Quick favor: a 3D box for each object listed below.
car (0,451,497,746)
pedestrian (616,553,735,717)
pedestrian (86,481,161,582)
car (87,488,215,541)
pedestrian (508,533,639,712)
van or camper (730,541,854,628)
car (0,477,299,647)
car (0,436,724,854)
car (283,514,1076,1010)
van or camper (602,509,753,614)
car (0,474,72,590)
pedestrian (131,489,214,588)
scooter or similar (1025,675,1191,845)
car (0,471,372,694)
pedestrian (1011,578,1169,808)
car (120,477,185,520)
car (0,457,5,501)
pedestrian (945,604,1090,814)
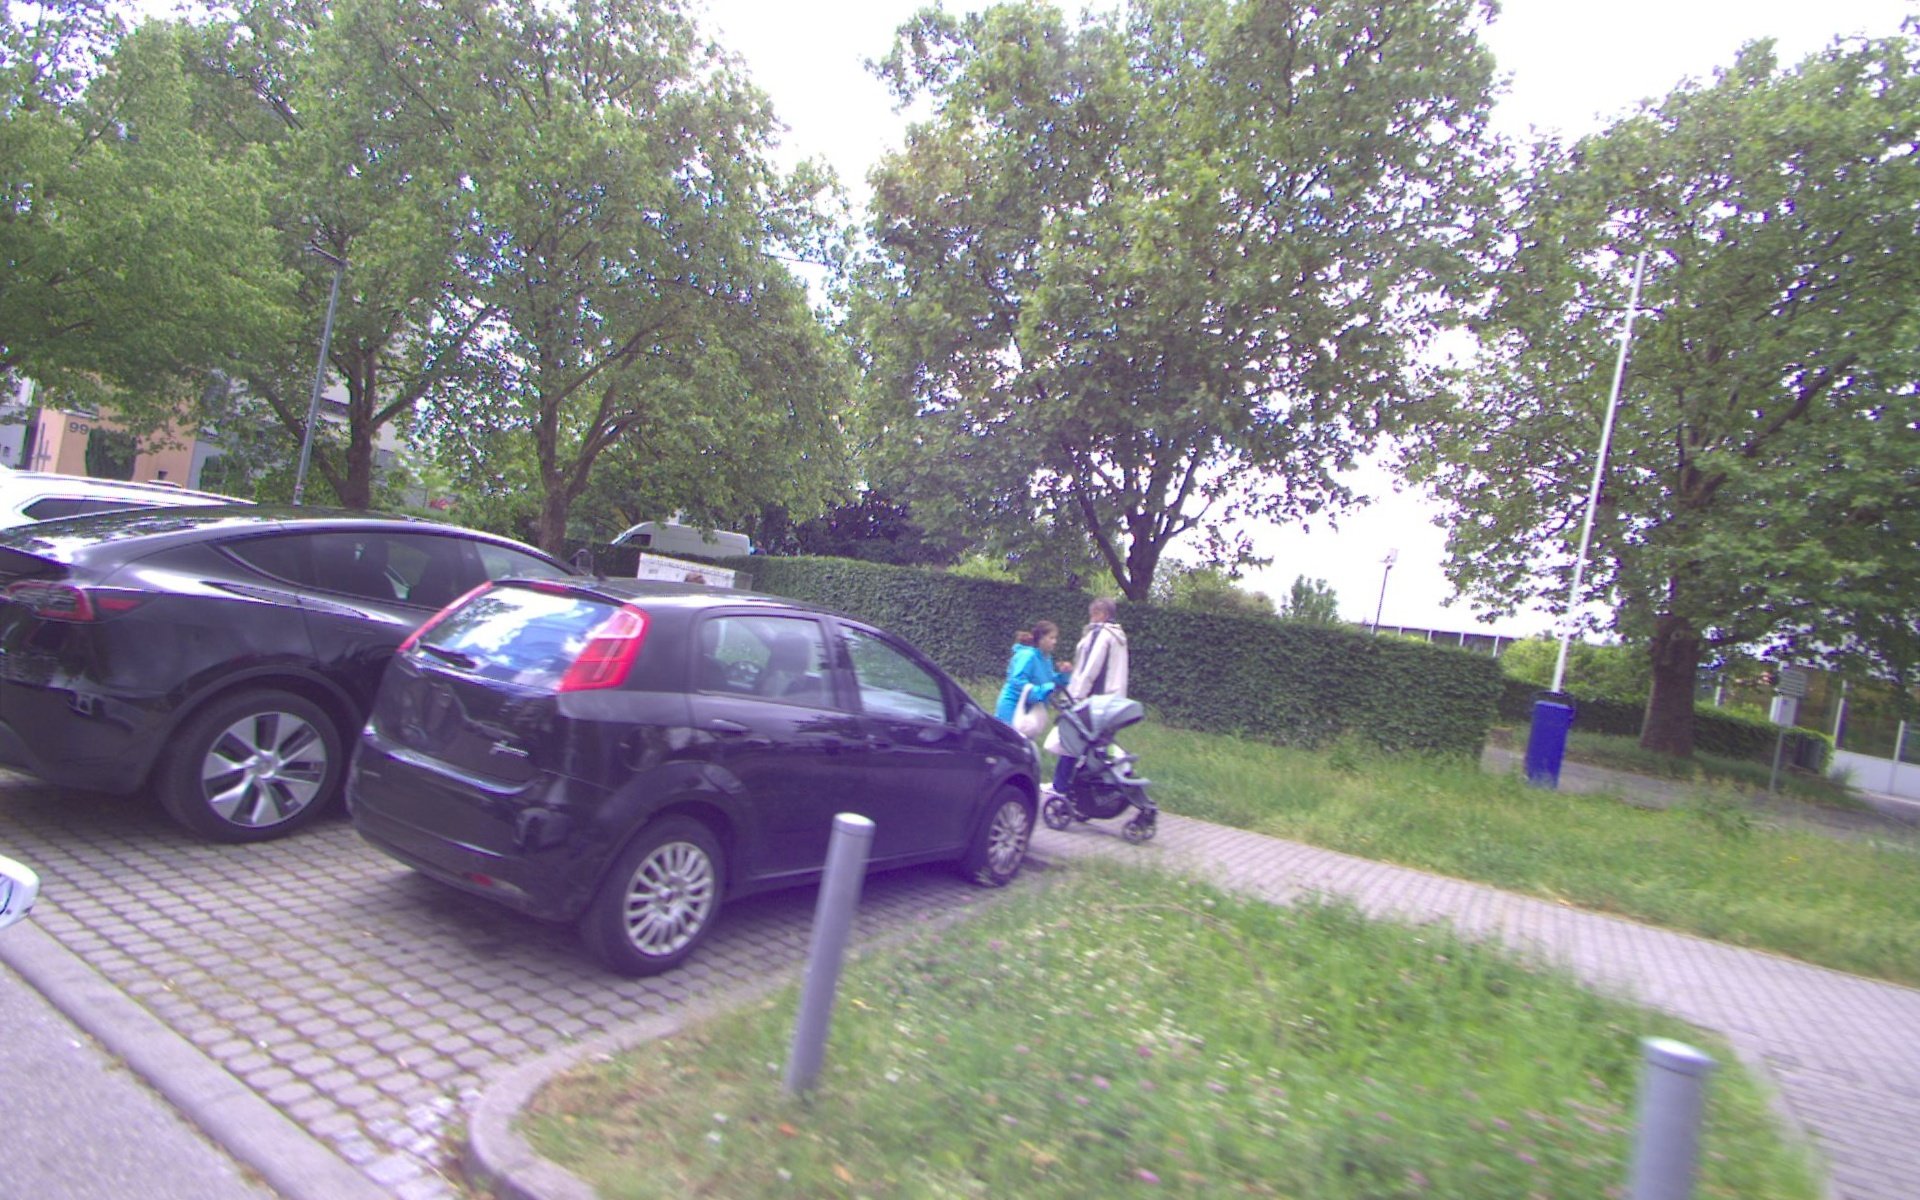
[{"bbox_3d":[-5.588,0.017,7.089,1.822,1.666,3.676,8,-1,34],"label":"car"},{"bbox_3d":[-3.407,0.428,12.069,0.864,1.813,0.741,8,-1,32],"label":"pedestrian"},{"bbox_3d":[-15.041,-1.226,18.096,0.590,1.676,0.690,8,-1,31],"label":"pedestrian"},{"bbox_3d":[-35.351,-3.723,44.055,1.696,1.637,3.996,7,-1,37],"label":"car"},{"bbox_3d":[-4.252,0.253,11.076,0.864,1.813,0.741,8,-1,32],"label":"pedestrian"},{"bbox_3d":[-6.975,-0.625,41.766,4.422,2.830,2.105,10,-1,-22],"label":"van or camper"},{"bbox_3d":[-9.897,-0.486,10.483,1.917,1.509,4.587,7,-1,27],"label":"car"},{"bbox_3d":[-3.349,0.292,5.740,1.567,1.592,3.676,7,-2,34],"label":"car"},{"bbox_3d":[-1.037,0.679,5.242,1.619,1.515,3.676,8,-2,34],"label":"car"},{"bbox_3d":[-9.862,-1.309,35.187,4.432,2.830,2.100,10,-2,-28],"label":"van or camper"},{"bbox_3d":[-14.573,-1.146,13.251,1.879,1.538,3.831,7,0,30],"label":"car"},{"bbox_3d":[-14.657,-1.141,18.739,0.583,1.676,0.871,8,-1,31],"label":"pedestrian"},{"bbox_3d":[1.097,1.157,7.444,0.928,1.035,0.581,8,-1,33],"label":"scooter or similar"},{"bbox_3d":[-7.594,-0.203,8.517,1.856,1.536,3.989,7,-3,38],"label":"car"},{"bbox_3d":[1.152,0.804,8.825,0.864,1.813,0.832,8,-1,32],"label":"pedestrian"},{"bbox_3d":[-38.433,-4.826,47.851,3.721,1.679,1.567,8,1,39],"label":"car"},{"bbox_3d":[-18.875,-1.857,16.096,1.811,1.854,4.783,7,0,28],"label":"car"},{"bbox_3d":[0.456,0.842,7.895,0.724,1.485,0.620,8,-1,32],"label":"pedestrian"}]
